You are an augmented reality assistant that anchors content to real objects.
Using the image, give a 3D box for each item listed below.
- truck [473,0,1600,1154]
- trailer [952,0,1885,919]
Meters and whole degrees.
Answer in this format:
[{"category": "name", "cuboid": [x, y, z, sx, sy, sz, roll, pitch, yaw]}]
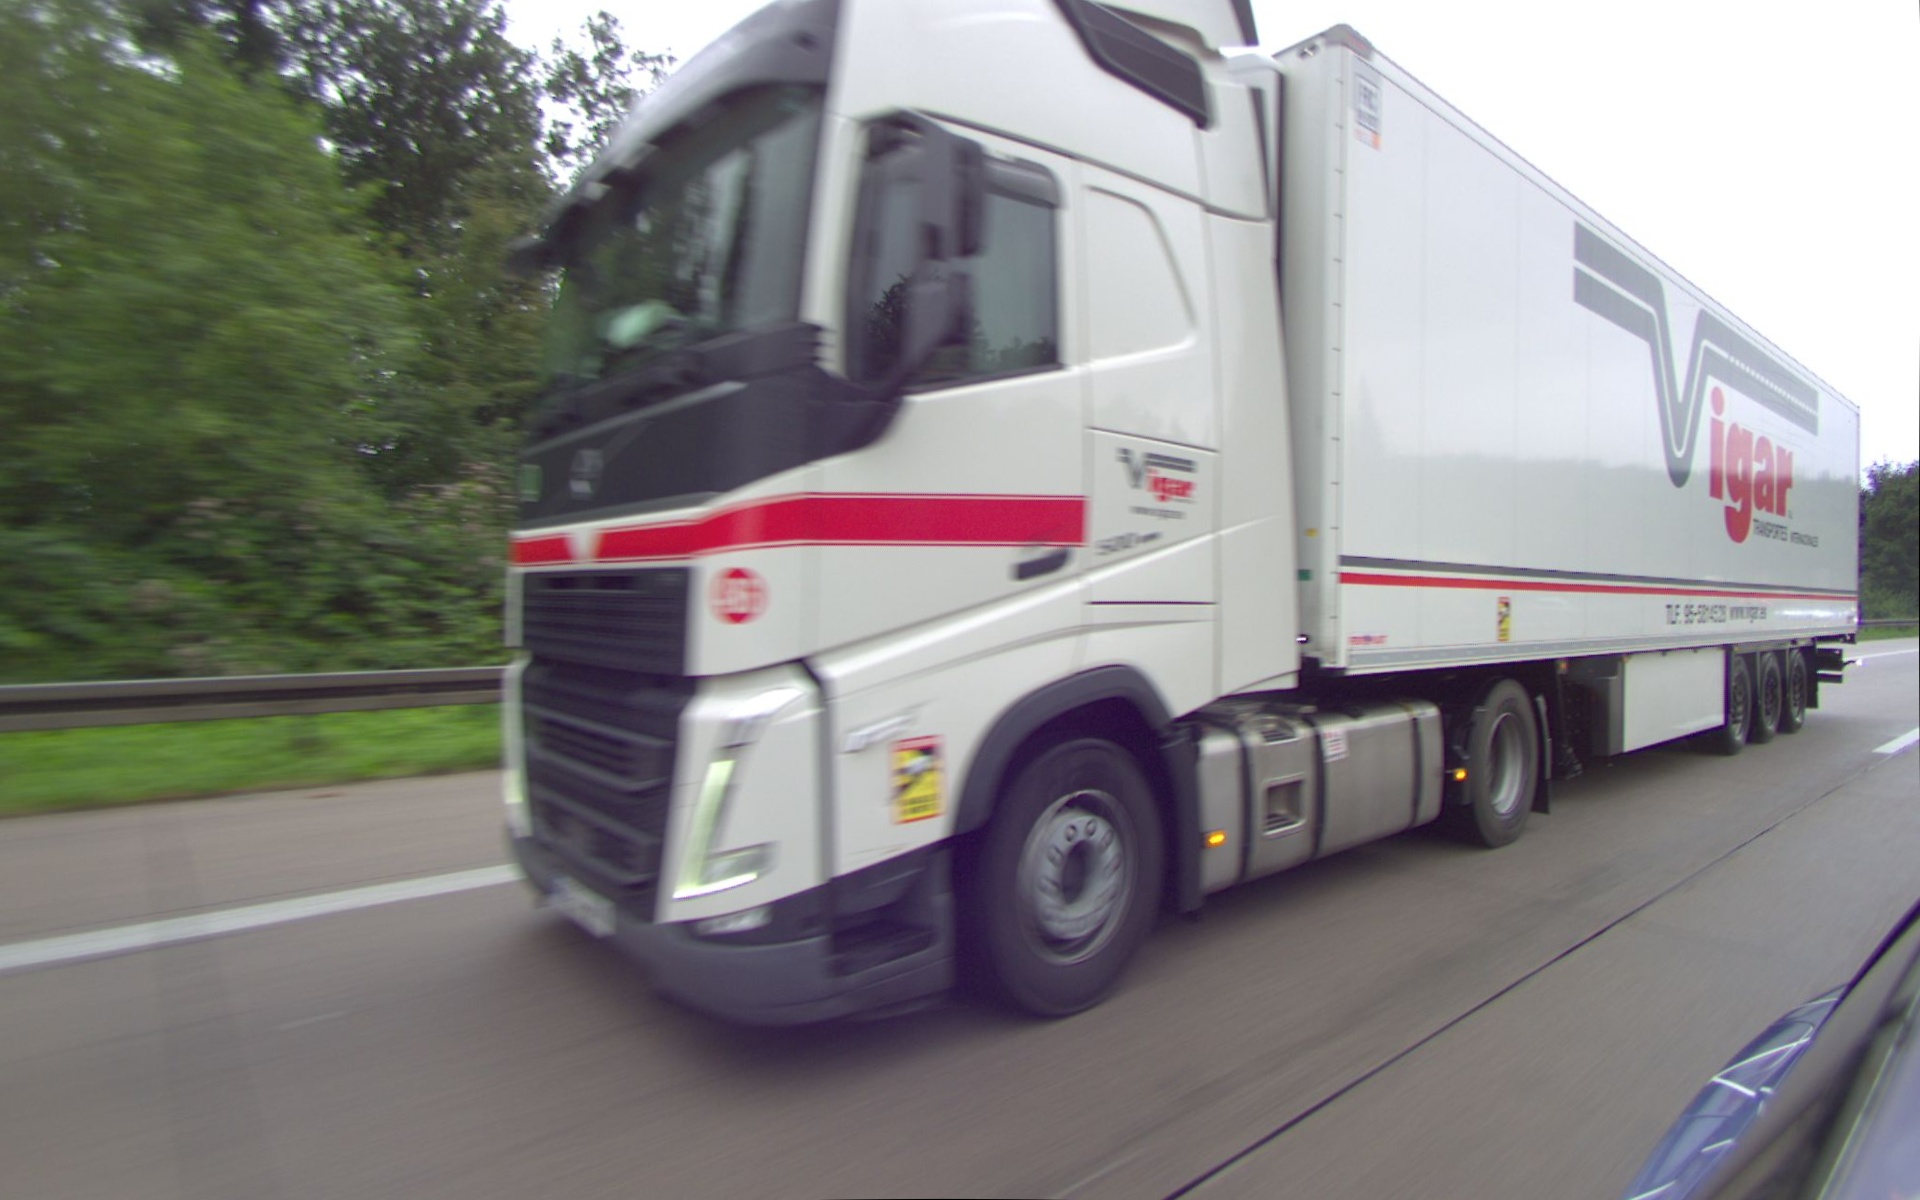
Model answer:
[{"category": "truck", "cuboid": [0.866, -0.694, 5.527, 5.861, 4.156, 2.804, 0, 0, -40]}, {"category": "trailer", "cuboid": [5.946, -0.714, 9.779, 13.440, 4.156, 2.739, 0, 0, -40]}]
